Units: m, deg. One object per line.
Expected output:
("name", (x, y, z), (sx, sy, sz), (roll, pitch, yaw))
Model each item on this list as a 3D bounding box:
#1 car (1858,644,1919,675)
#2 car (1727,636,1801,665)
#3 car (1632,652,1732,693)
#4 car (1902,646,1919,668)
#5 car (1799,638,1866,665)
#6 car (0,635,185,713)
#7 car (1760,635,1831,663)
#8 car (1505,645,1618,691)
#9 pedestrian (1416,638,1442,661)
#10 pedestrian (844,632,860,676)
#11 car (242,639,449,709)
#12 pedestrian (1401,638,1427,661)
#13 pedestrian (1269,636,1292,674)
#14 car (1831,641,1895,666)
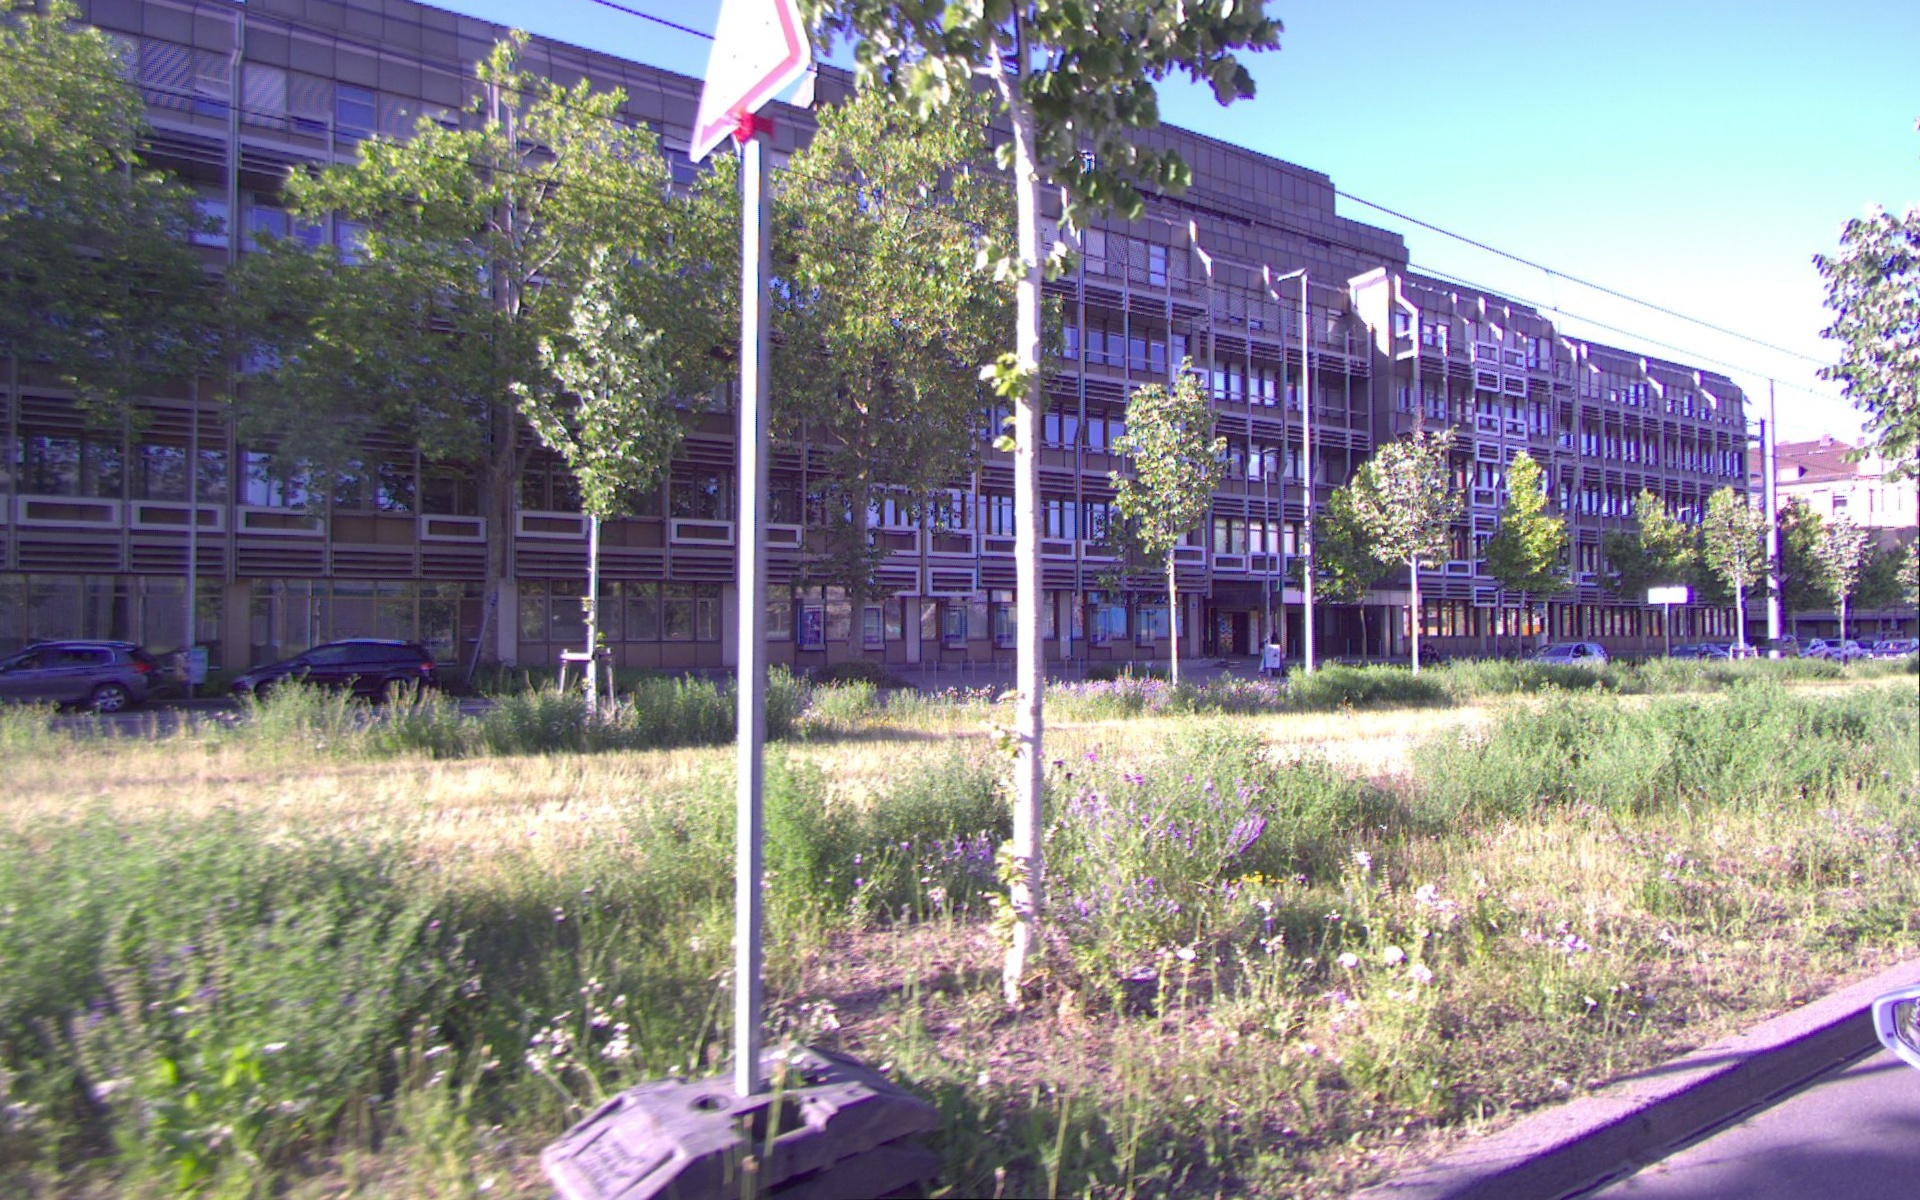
("car", (50.798, 3.195, 54.519), (4.252, 1.596, 1.894), (1, -3, -31))
("car", (45.177, 2.821, 56.403), (4.252, 1.596, 1.894), (1, -3, -31))
("car", (30.588, 3.019, 42.535), (4.360, 1.596, 1.894), (1, -3, -31))
("car", (71.420, 4.176, 73.962), (4.252, 1.596, 1.894), (1, -3, -31))
("car", (53.840, 3.158, 61.948), (4.252, 1.596, 1.894), (1, -3, -31))
("car", (-20.213, 1.634, 22.403), (4.306, 1.653, 1.904), (1, -4, -27))
("car", (48.928, 2.862, 58.791), (4.252, 1.596, 1.894), (1, -3, -31))
("car", (21.888, 2.430, 36.537), (3.954, 1.596, 1.894), (1, -3, -31))
("pedestrian", (24.196, 2.540, 51.815), (0.888, 1.184, 0.896), (1, -2, -29))
("pedestrian", (-3.909, 1.941, 36.417), (0.441, 1.582, 0.407), (1, -2, -28))
("car", (-15.117, 1.805, 25.005), (4.224, 1.617, 1.853), (2, -3, -29))
("pedestrian", (23.172, 2.518, 51.246), (0.855, 1.184, 0.895), (1, -2, -31))
("pedestrian", (13.328, 2.275, 41.798), (0.642, 1.552, 0.660), (1, -2, -31))
("car", (58.624, 3.437, 65.196), (4.252, 1.596, 1.894), (1, -3, -31))
